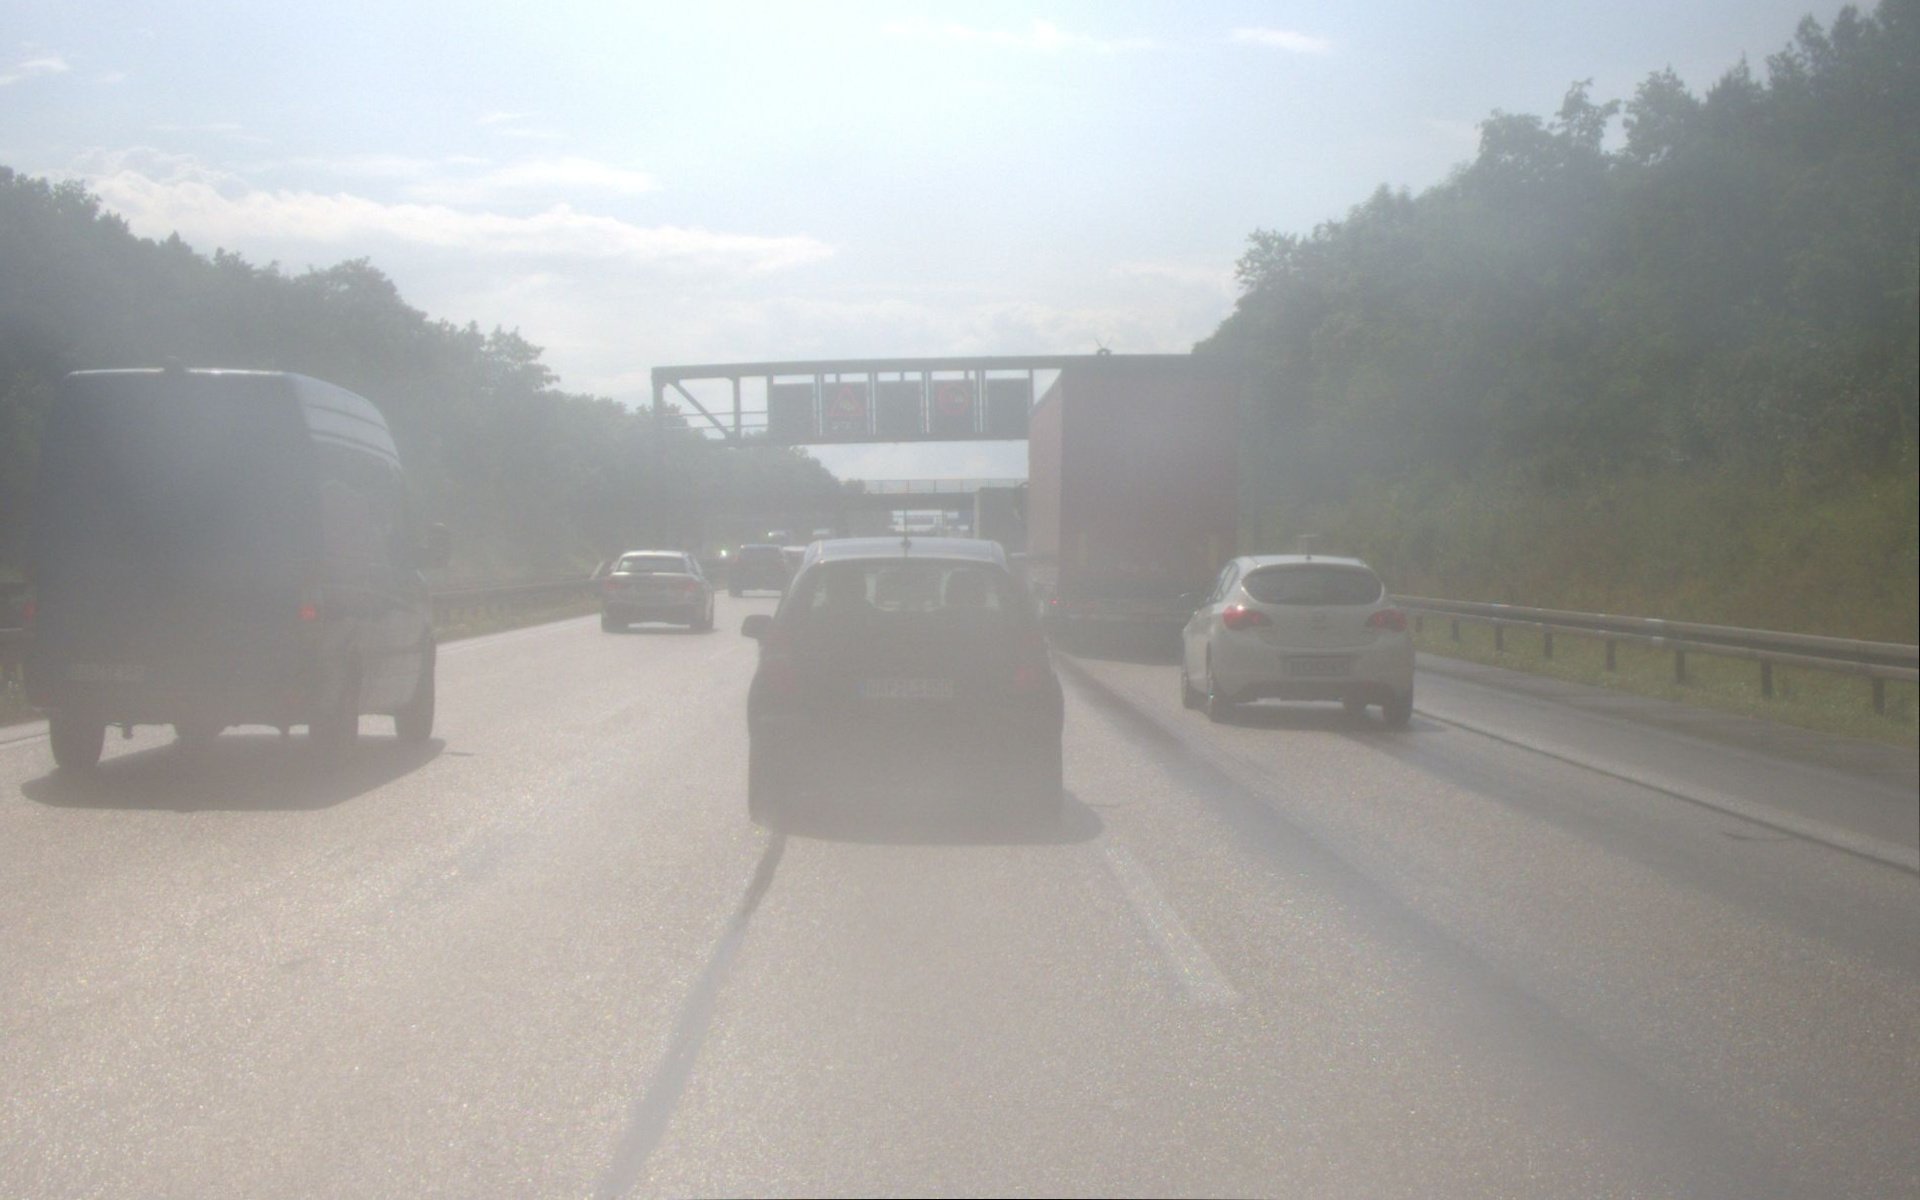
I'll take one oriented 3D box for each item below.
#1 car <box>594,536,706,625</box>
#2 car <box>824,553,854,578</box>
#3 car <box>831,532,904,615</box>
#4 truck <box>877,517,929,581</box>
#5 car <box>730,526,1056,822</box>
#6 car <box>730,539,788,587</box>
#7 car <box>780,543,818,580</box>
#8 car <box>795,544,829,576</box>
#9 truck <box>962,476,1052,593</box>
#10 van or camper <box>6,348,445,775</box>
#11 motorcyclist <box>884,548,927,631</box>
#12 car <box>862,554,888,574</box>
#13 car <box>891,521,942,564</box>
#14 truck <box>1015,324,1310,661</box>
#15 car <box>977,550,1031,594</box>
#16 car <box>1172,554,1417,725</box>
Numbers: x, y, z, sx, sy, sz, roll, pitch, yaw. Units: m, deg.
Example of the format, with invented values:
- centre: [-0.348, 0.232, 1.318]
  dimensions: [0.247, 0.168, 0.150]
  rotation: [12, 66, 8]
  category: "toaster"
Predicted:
- centre: [-5.615, -0.372, 62.614]
  dimensions: [1.854, 1.546, 3.485]
  rotation: [1, 1, -2]
  category: "car"
- centre: [-6.326, -1.826, 179.587]
  dimensions: [1.549, 1.262, 3.485]
  rotation: [1, 1, -3]
  category: "car"
- centre: [-2.043, -0.590, 75.160]
  dimensions: [1.531, 1.740, 3.485]
  rotation: [1, 1, -2]
  category: "car"
- centre: [-2.641, -2.321, 157.959]
  dimensions: [2.192, 2.865, 4.850]
  rotation: [1, 1, -2]
  category: "truck"
- centre: [-0.428, 0.374, 20.127]
  dimensions: [1.717, 1.562, 3.485]
  rotation: [1, 1, -2]
  category: "car"
- centre: [-6.267, -1.151, 107.469]
  dimensions: [1.751, 1.452, 3.390]
  rotation: [1, 1, -2]
  category: "car"
- centre: [-6.235, -1.498, 133.283]
  dimensions: [1.460, 1.389, 3.312]
  rotation: [1, 1, -2]
  category: "car"
- centre: [-6.605, -1.799, 153.595]
  dimensions: [1.514, 1.385, 3.273]
  rotation: [1, 1, -2]
  category: "car"
- centre: [1.812, -2.612, 138.814]
  dimensions: [3.256, 4.464, 12.422]
  rotation: [1, 1, -1]
  category: "truck"
- centre: [-5.033, -0.278, 24.358]
  dimensions: [1.993, 2.659, 5.385]
  rotation: [1, 1, -1]
  category: "van or camper"
- centre: [-1.082, -0.218, 68.079]
  dimensions: [0.801, 1.627, 1.013]
  rotation: [1, 1, -2]
  category: "motorcyclist"
- centre: [-5.391, -2.295, 217.876]
  dimensions: [1.549, 1.262, 3.485]
  rotation: [1, 1, -3]
  category: "car"
- centre: [-1.447, -1.886, 113.147]
  dimensions: [1.552, 1.378, 3.210]
  rotation: [1, 1, -2]
  category: "car"
- centre: [3.000, -1.624, 57.028]
  dimensions: [3.650, 4.704, 16.780]
  rotation: [1, 1, -1]
  category: "truck"
- centre: [1.397, -0.907, 110.368]
  dimensions: [1.552, 1.378, 3.210]
  rotation: [1, 1, -2]
  category: "car"
- centre: [2.980, 0.311, 31.359]
  dimensions: [1.680, 1.437, 3.905]
  rotation: [1, 1, -2]
  category: "car"
